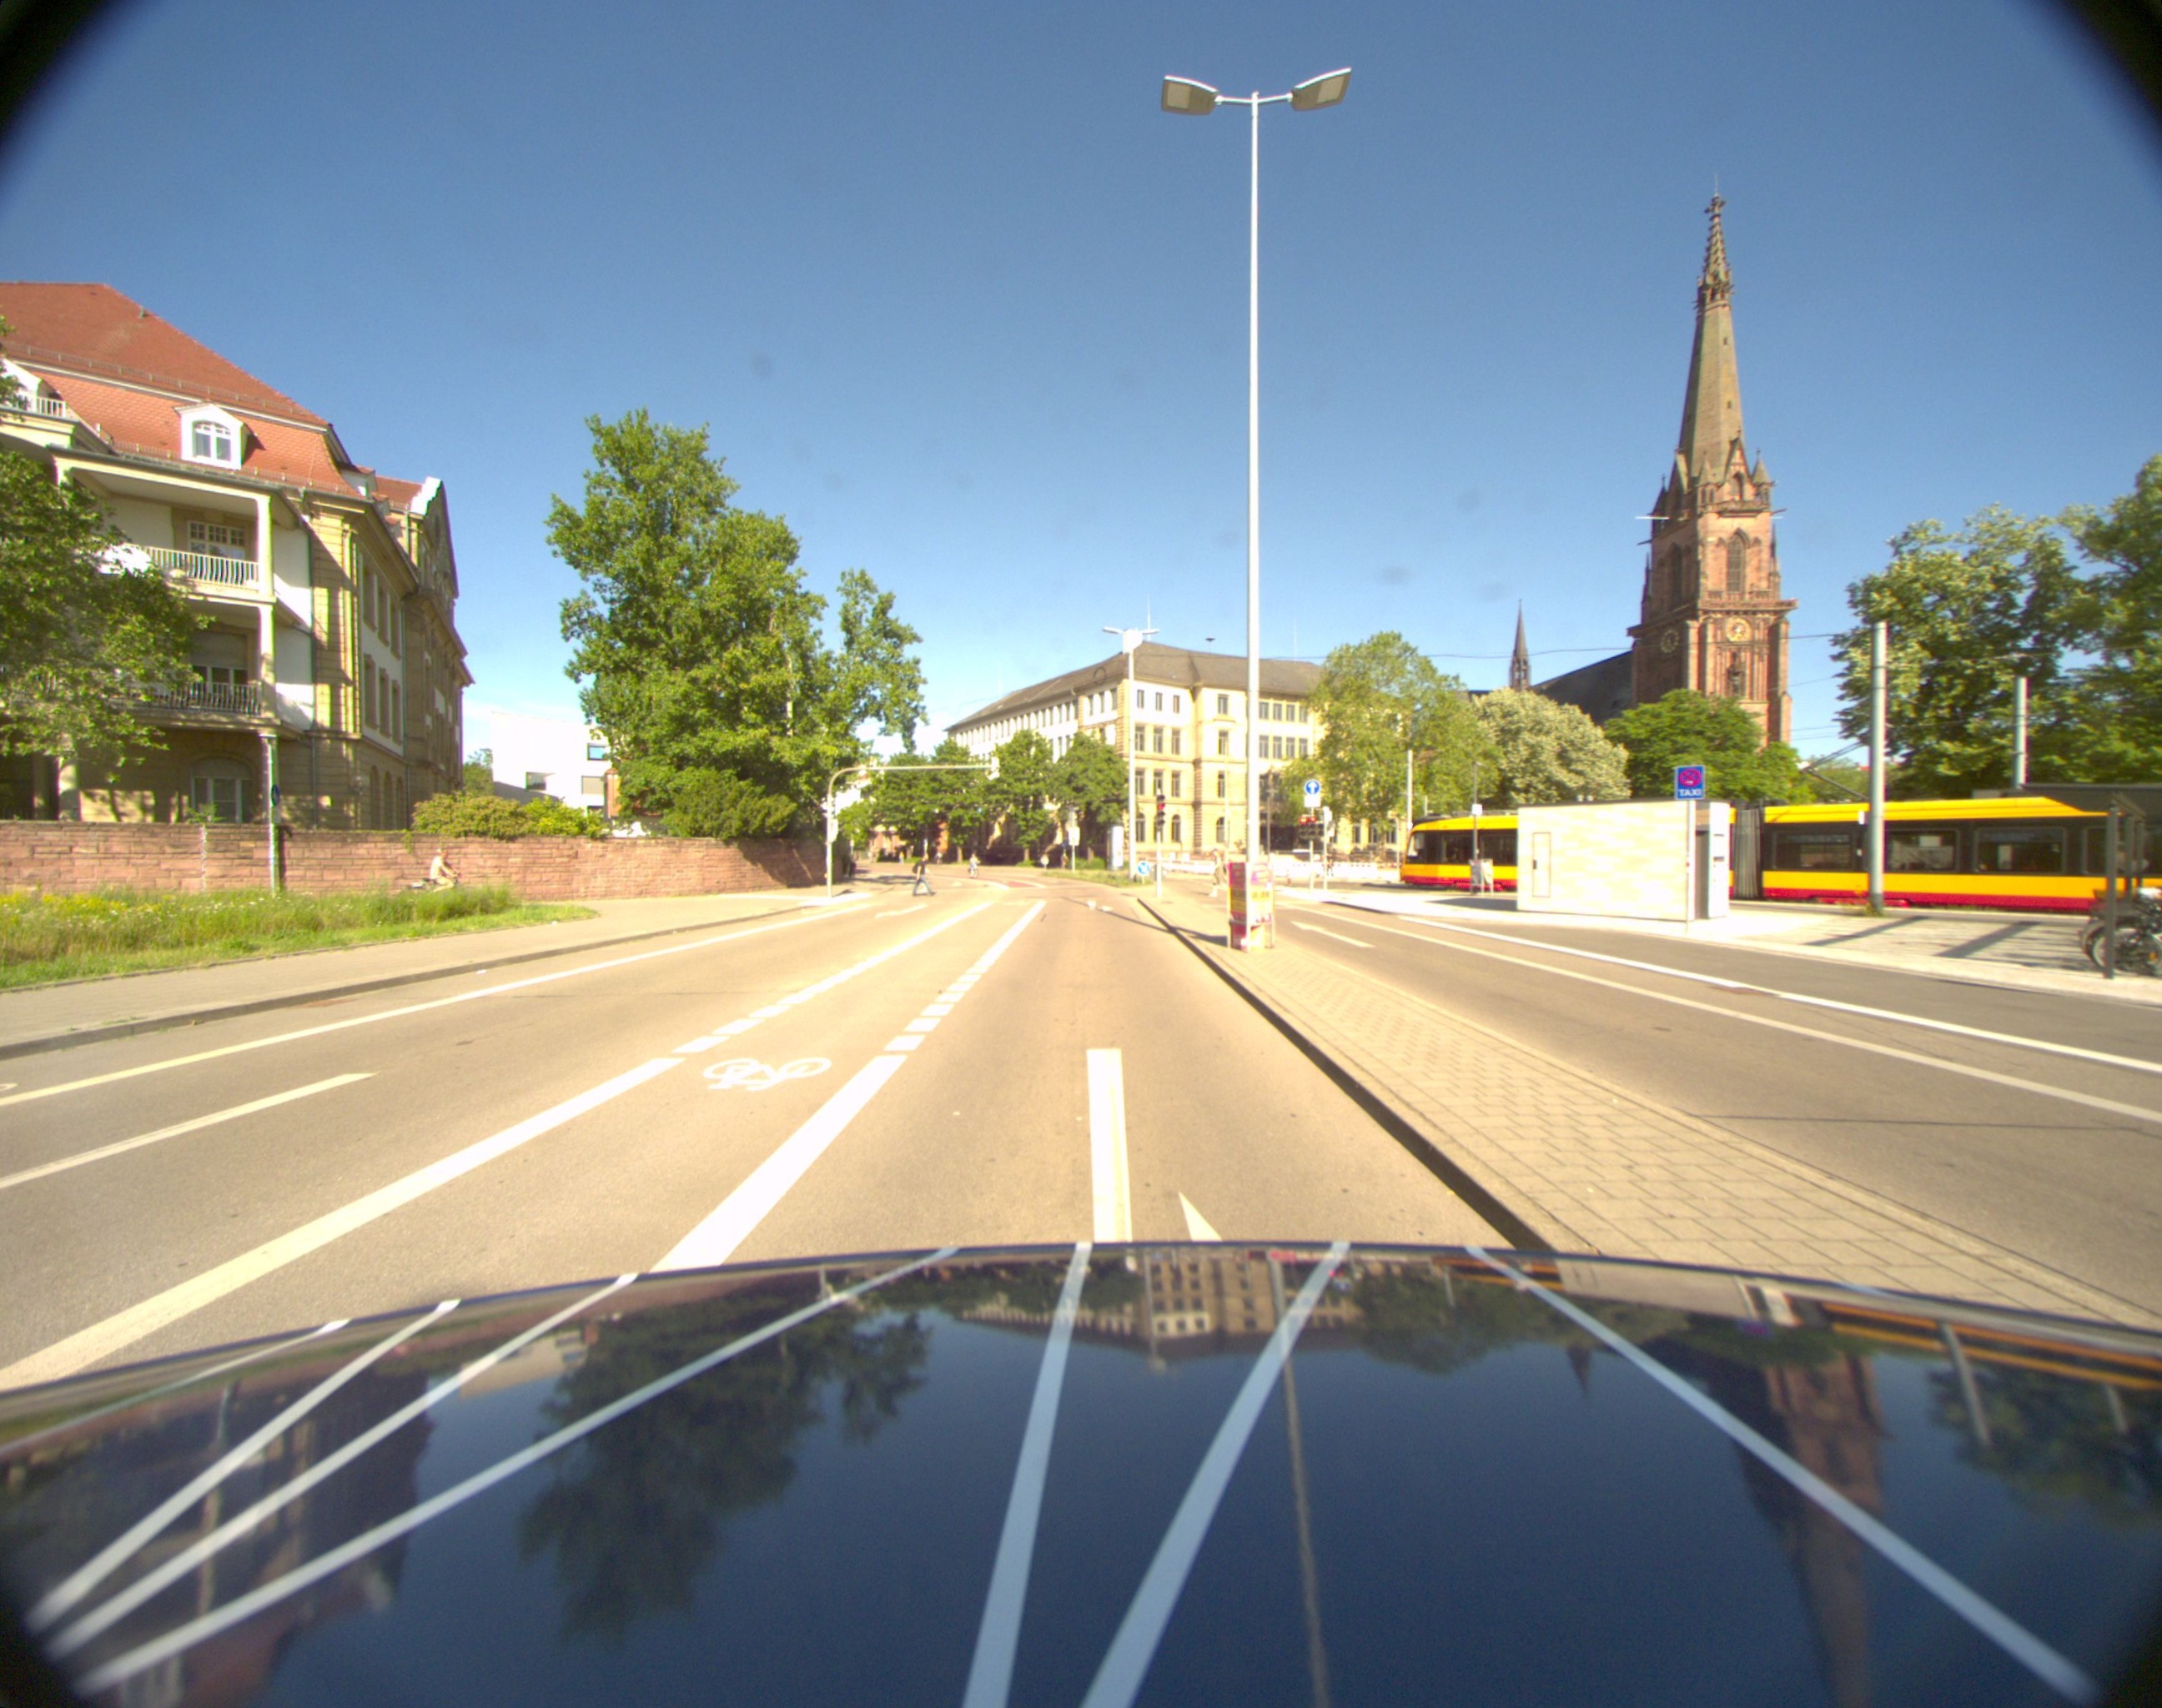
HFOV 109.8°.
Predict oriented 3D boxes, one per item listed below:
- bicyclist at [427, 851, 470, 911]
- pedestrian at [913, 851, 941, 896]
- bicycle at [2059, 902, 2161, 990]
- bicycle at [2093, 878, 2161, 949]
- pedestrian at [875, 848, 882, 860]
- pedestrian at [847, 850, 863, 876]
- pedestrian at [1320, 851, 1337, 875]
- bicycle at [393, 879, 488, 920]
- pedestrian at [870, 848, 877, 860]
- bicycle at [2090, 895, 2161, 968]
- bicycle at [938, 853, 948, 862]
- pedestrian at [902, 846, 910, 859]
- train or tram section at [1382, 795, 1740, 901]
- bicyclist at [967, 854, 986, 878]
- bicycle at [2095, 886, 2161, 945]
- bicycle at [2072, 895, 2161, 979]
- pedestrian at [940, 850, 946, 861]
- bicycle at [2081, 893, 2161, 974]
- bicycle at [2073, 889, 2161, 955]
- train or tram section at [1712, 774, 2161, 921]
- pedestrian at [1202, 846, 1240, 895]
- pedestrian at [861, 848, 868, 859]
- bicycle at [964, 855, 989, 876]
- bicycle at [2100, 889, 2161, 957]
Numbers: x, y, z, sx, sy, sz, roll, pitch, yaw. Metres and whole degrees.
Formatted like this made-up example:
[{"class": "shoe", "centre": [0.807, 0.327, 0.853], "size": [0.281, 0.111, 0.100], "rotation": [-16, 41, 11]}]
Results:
[{"class": "bicyclist", "centre": [-17.365, 0.726, 20.876], "size": [0.779, 1.596, 0.721], "rotation": [-2, 1, -32]}, {"class": "pedestrian", "centre": [-6.456, 0.821, 31.904], "size": [0.960, 1.839, 0.731], "rotation": [1, 1, 3]}, {"class": "bicycle", "centre": [13.940, 1.202, 9.593], "size": [0.702, 1.002, 1.863], "rotation": [-1, 2, -32]}, {"class": "bicycle", "centre": [18.948, 1.043, 13.048], "size": [0.630, 1.173, 1.826], "rotation": [-1, 1, -32]}, {"class": "pedestrian", "centre": [-31.241, 0.003, 117.285], "size": [0.759, 1.801, 0.978], "rotation": [-1, -3, -32]}, {"class": "pedestrian", "centre": [-15.321, 0.614, 51.496], "size": [0.940, 1.711, 0.994], "rotation": [0, 1, -12]}, {"class": "pedestrian", "centre": [17.706, 0.620, 54.336], "size": [0.932, 1.731, 0.808], "rotation": [1, 1, 42]}, {"class": "bicycle", "centre": [-17.482, 1.237, 20.804], "size": [1.888, 1.063, 0.723], "rotation": [2, -2, -32]}, {"class": "pedestrian", "centre": [-31.910, 0.034, 116.793], "size": [0.759, 1.801, 0.978], "rotation": [-1, -3, -34]}, {"class": "bicycle", "centre": [16.180, 1.157, 10.999], "size": [0.630, 1.002, 1.826], "rotation": [-1, 1, -32]}, {"class": "bicycle", "centre": [-16.725, 0.451, 91.864], "size": [0.602, 1.000, 1.983], "rotation": [-3, 1, -28]}, {"class": "pedestrian", "centre": [-24.422, -0.242, 105.841], "size": [0.759, 1.802, 0.977], "rotation": [-1, 1, -40]}, {"class": "train or tram section", "centre": [18.961, -0.237, 31.661], "size": [2.806, 3.580, 12.504], "rotation": [-1, 1, -35]}, {"class": "bicyclist", "centre": [-7.107, 0.792, 51.594], "size": [0.871, 1.551, 1.277], "rotation": [-1, 1, -29]}, {"class": "bicycle", "centre": [19.528, 1.119, 13.456], "size": [0.630, 1.002, 1.826], "rotation": [-1, 1, -32]}, {"class": "bicycle", "centre": [14.673, 1.126, 10.061], "size": [0.630, 1.059, 1.826], "rotation": [-1, 1, -32]}, {"class": "pedestrian", "centre": [-16.662, 0.174, 91.738], "size": [0.597, 1.394, 0.644], "rotation": [-3, 2, -28]}, {"class": "bicycle", "centre": [15.143, 1.112, 10.327], "size": [0.574, 1.045, 1.826], "rotation": [-1, 1, -32]}, {"class": "bicycle", "centre": [17.815, 1.132, 12.460], "size": [0.630, 1.002, 1.826], "rotation": [-1, 1, -32]}, {"class": "train or tram section", "centre": [26.050, -0.180, 21.486], "size": [2.806, 3.580, 12.294], "rotation": [-1, 1, -35]}, {"class": "pedestrian", "centre": [5.308, 0.614, 28.944], "size": [1.229, 1.845, 0.827], "rotation": [0, 1, -7]}, {"class": "pedestrian", "centre": [-35.475, -0.074, 124.529], "size": [0.759, 1.802, 0.978], "rotation": [-1, 1, -38]}, {"class": "bicycle", "centre": [-7.090, 0.791, 51.621], "size": [0.763, 1.360, 2.731], "rotation": [-1, 1, -28]}, {"class": "bicycle", "centre": [17.167, 1.095, 11.624], "size": [0.630, 1.002, 1.826], "rotation": [-1, 1, -32]}]
